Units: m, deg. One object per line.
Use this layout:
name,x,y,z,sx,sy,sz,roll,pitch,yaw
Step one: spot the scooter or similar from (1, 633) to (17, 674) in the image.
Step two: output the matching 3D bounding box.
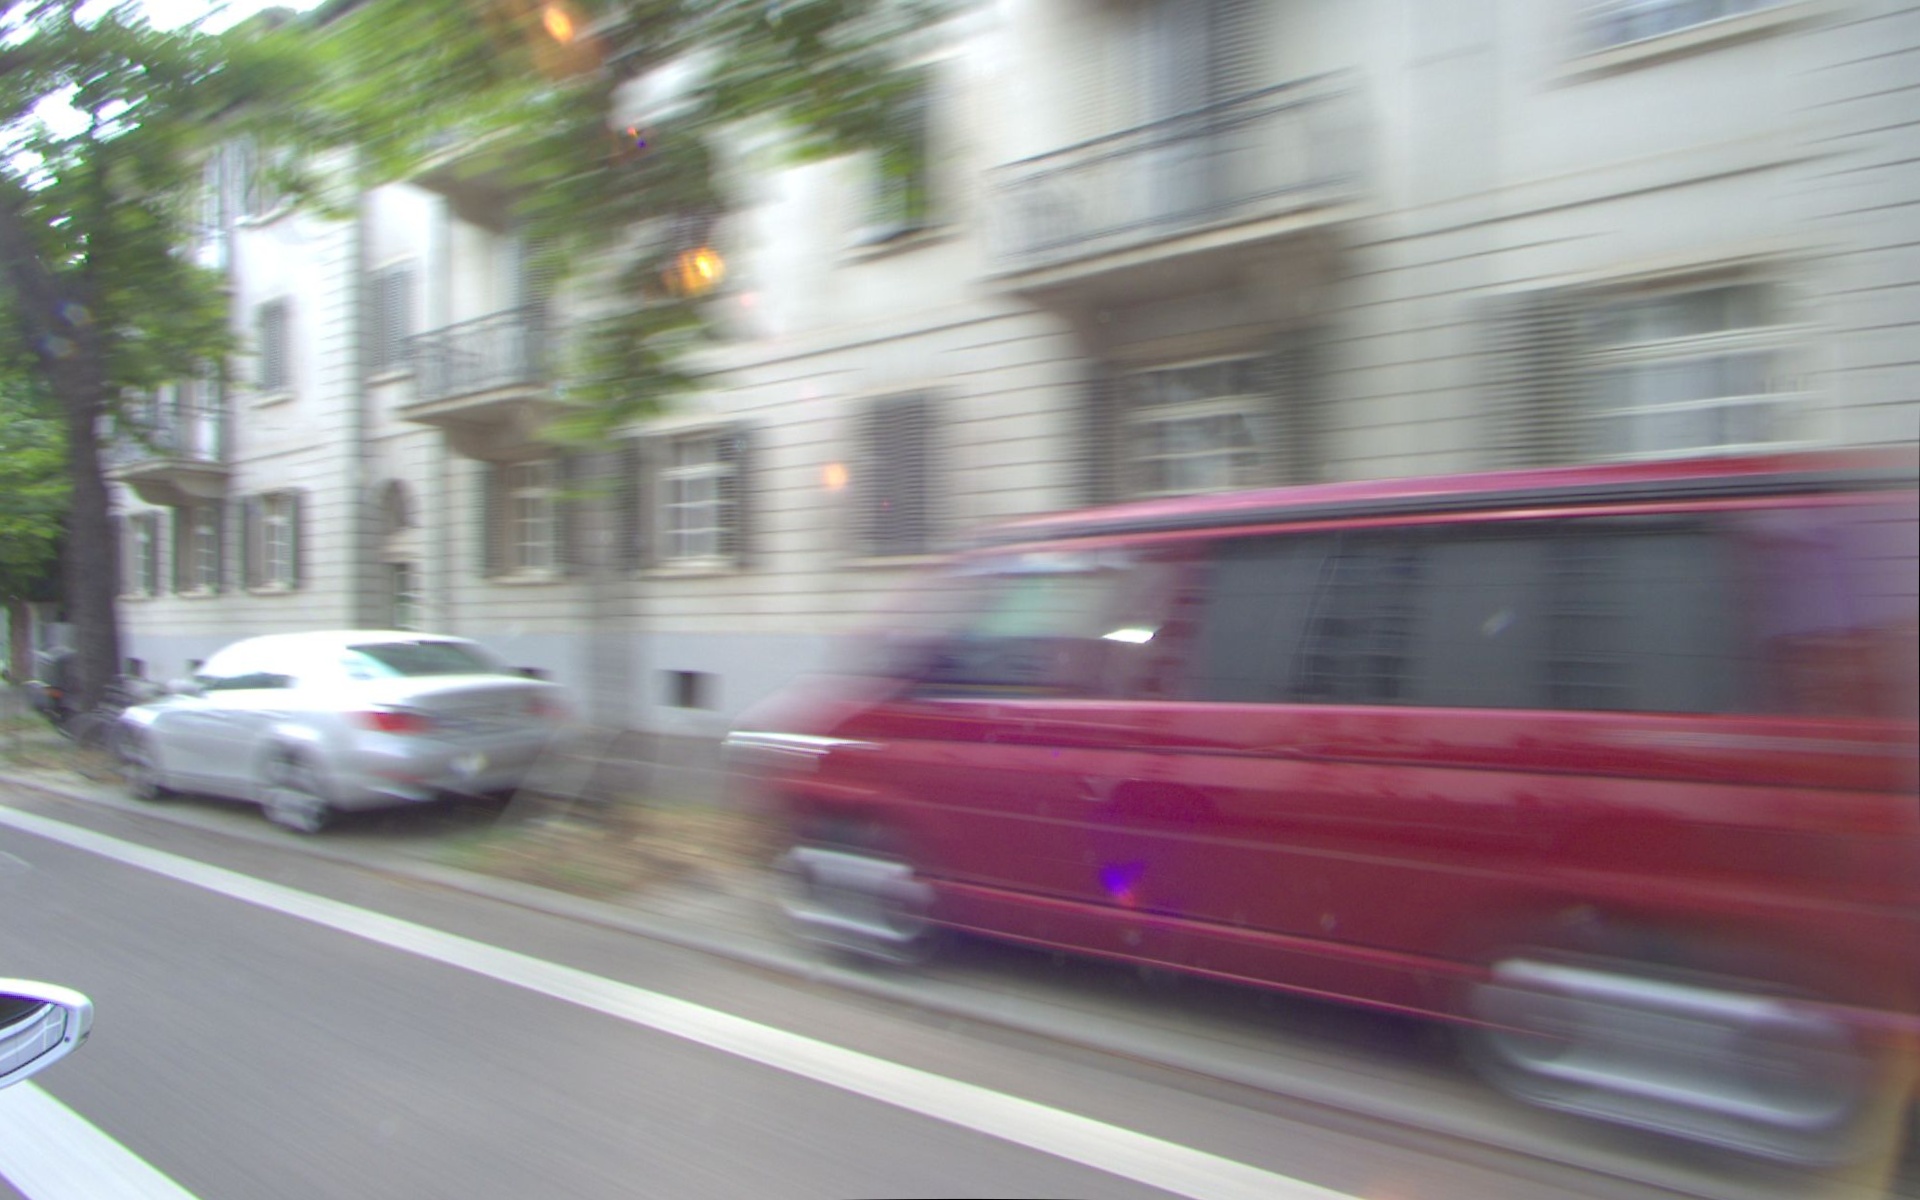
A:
scooter or similar,-28.032,1.564,29.512,0.320,1.196,1.137,1,-1,-44

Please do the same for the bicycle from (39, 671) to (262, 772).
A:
bicycle,-8.716,1.271,10.855,0.682,0.914,1.771,-1,-1,35

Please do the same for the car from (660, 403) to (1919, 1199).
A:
car,1.113,0.553,4.296,4.880,1.966,1.892,-1,-1,32

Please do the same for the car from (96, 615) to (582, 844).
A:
car,-5.495,0.907,8.651,4.721,1.518,1.704,-1,-1,32

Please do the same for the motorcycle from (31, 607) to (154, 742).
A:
motorcycle,-11.061,0.889,12.732,2.415,1.561,0.975,-1,-1,44
